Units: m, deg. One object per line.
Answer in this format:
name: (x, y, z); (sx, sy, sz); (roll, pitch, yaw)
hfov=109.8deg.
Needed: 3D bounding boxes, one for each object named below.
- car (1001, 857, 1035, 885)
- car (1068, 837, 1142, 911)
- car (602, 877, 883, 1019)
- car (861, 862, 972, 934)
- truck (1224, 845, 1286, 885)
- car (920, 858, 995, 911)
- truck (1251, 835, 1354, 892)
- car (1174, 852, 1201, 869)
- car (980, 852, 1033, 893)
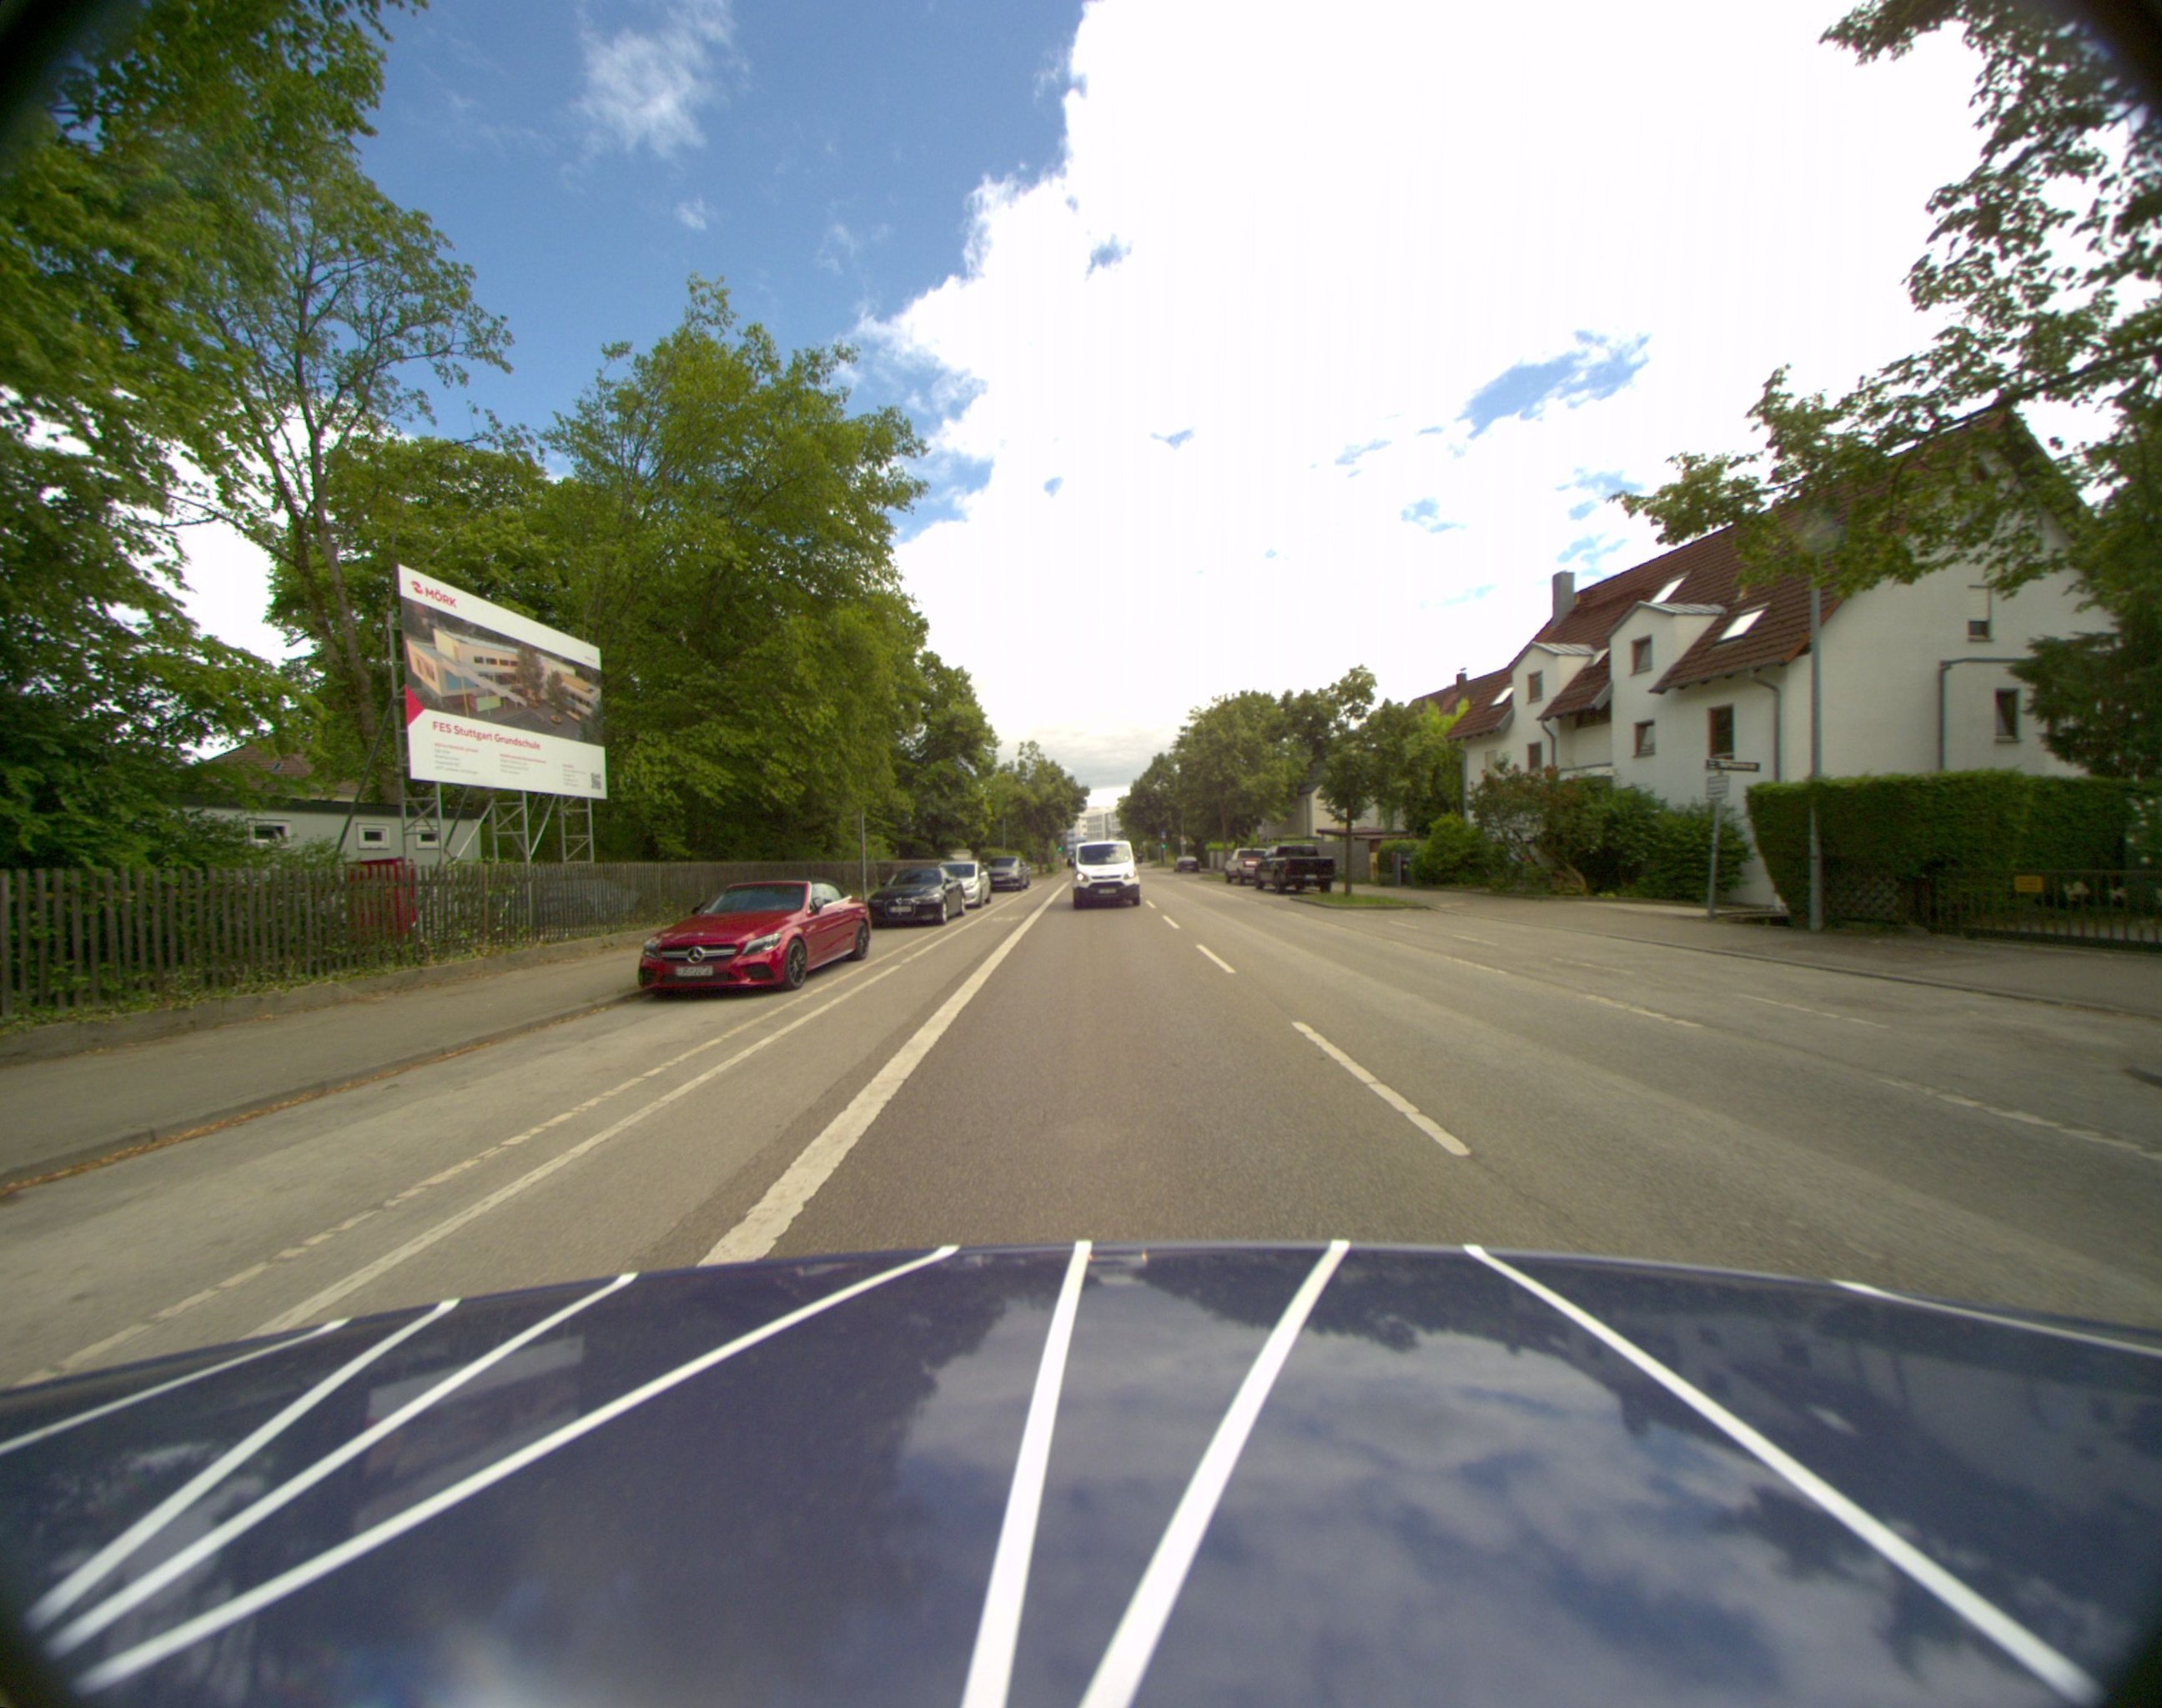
car: (-3.647, 0.966, 44.721); (1.689, 1.493, 3.920); (-2, 1, -1)
car: (0.753, 0.543, 24.099); (1.998, 2.002, 5.188); (-3, 1, 1)
car: (-4.453, 1.144, 10.902); (1.864, 1.405, 4.444); (-3, 0, 1)
car: (-4.209, 1.065, 20.203); (1.820, 1.506, 4.679); (-3, 1, 0)
truck: (8.712, 0.500, 38.518); (1.971, 1.857, 5.664); (0, 0, 1)
car: (-4.136, 0.981, 26.227); (1.867, 1.580, 4.421); (-2, 0, -1)
truck: (8.756, 0.342, 30.702); (2.429, 2.031, 5.995); (-1, 0, 1)
car: (9.381, 0.567, 67.060); (1.750, 1.400, 4.927); (0, 0, 1)
car: (-3.669, 0.851, 38.243); (1.998, 1.805, 4.827); (-2, 1, 1)
